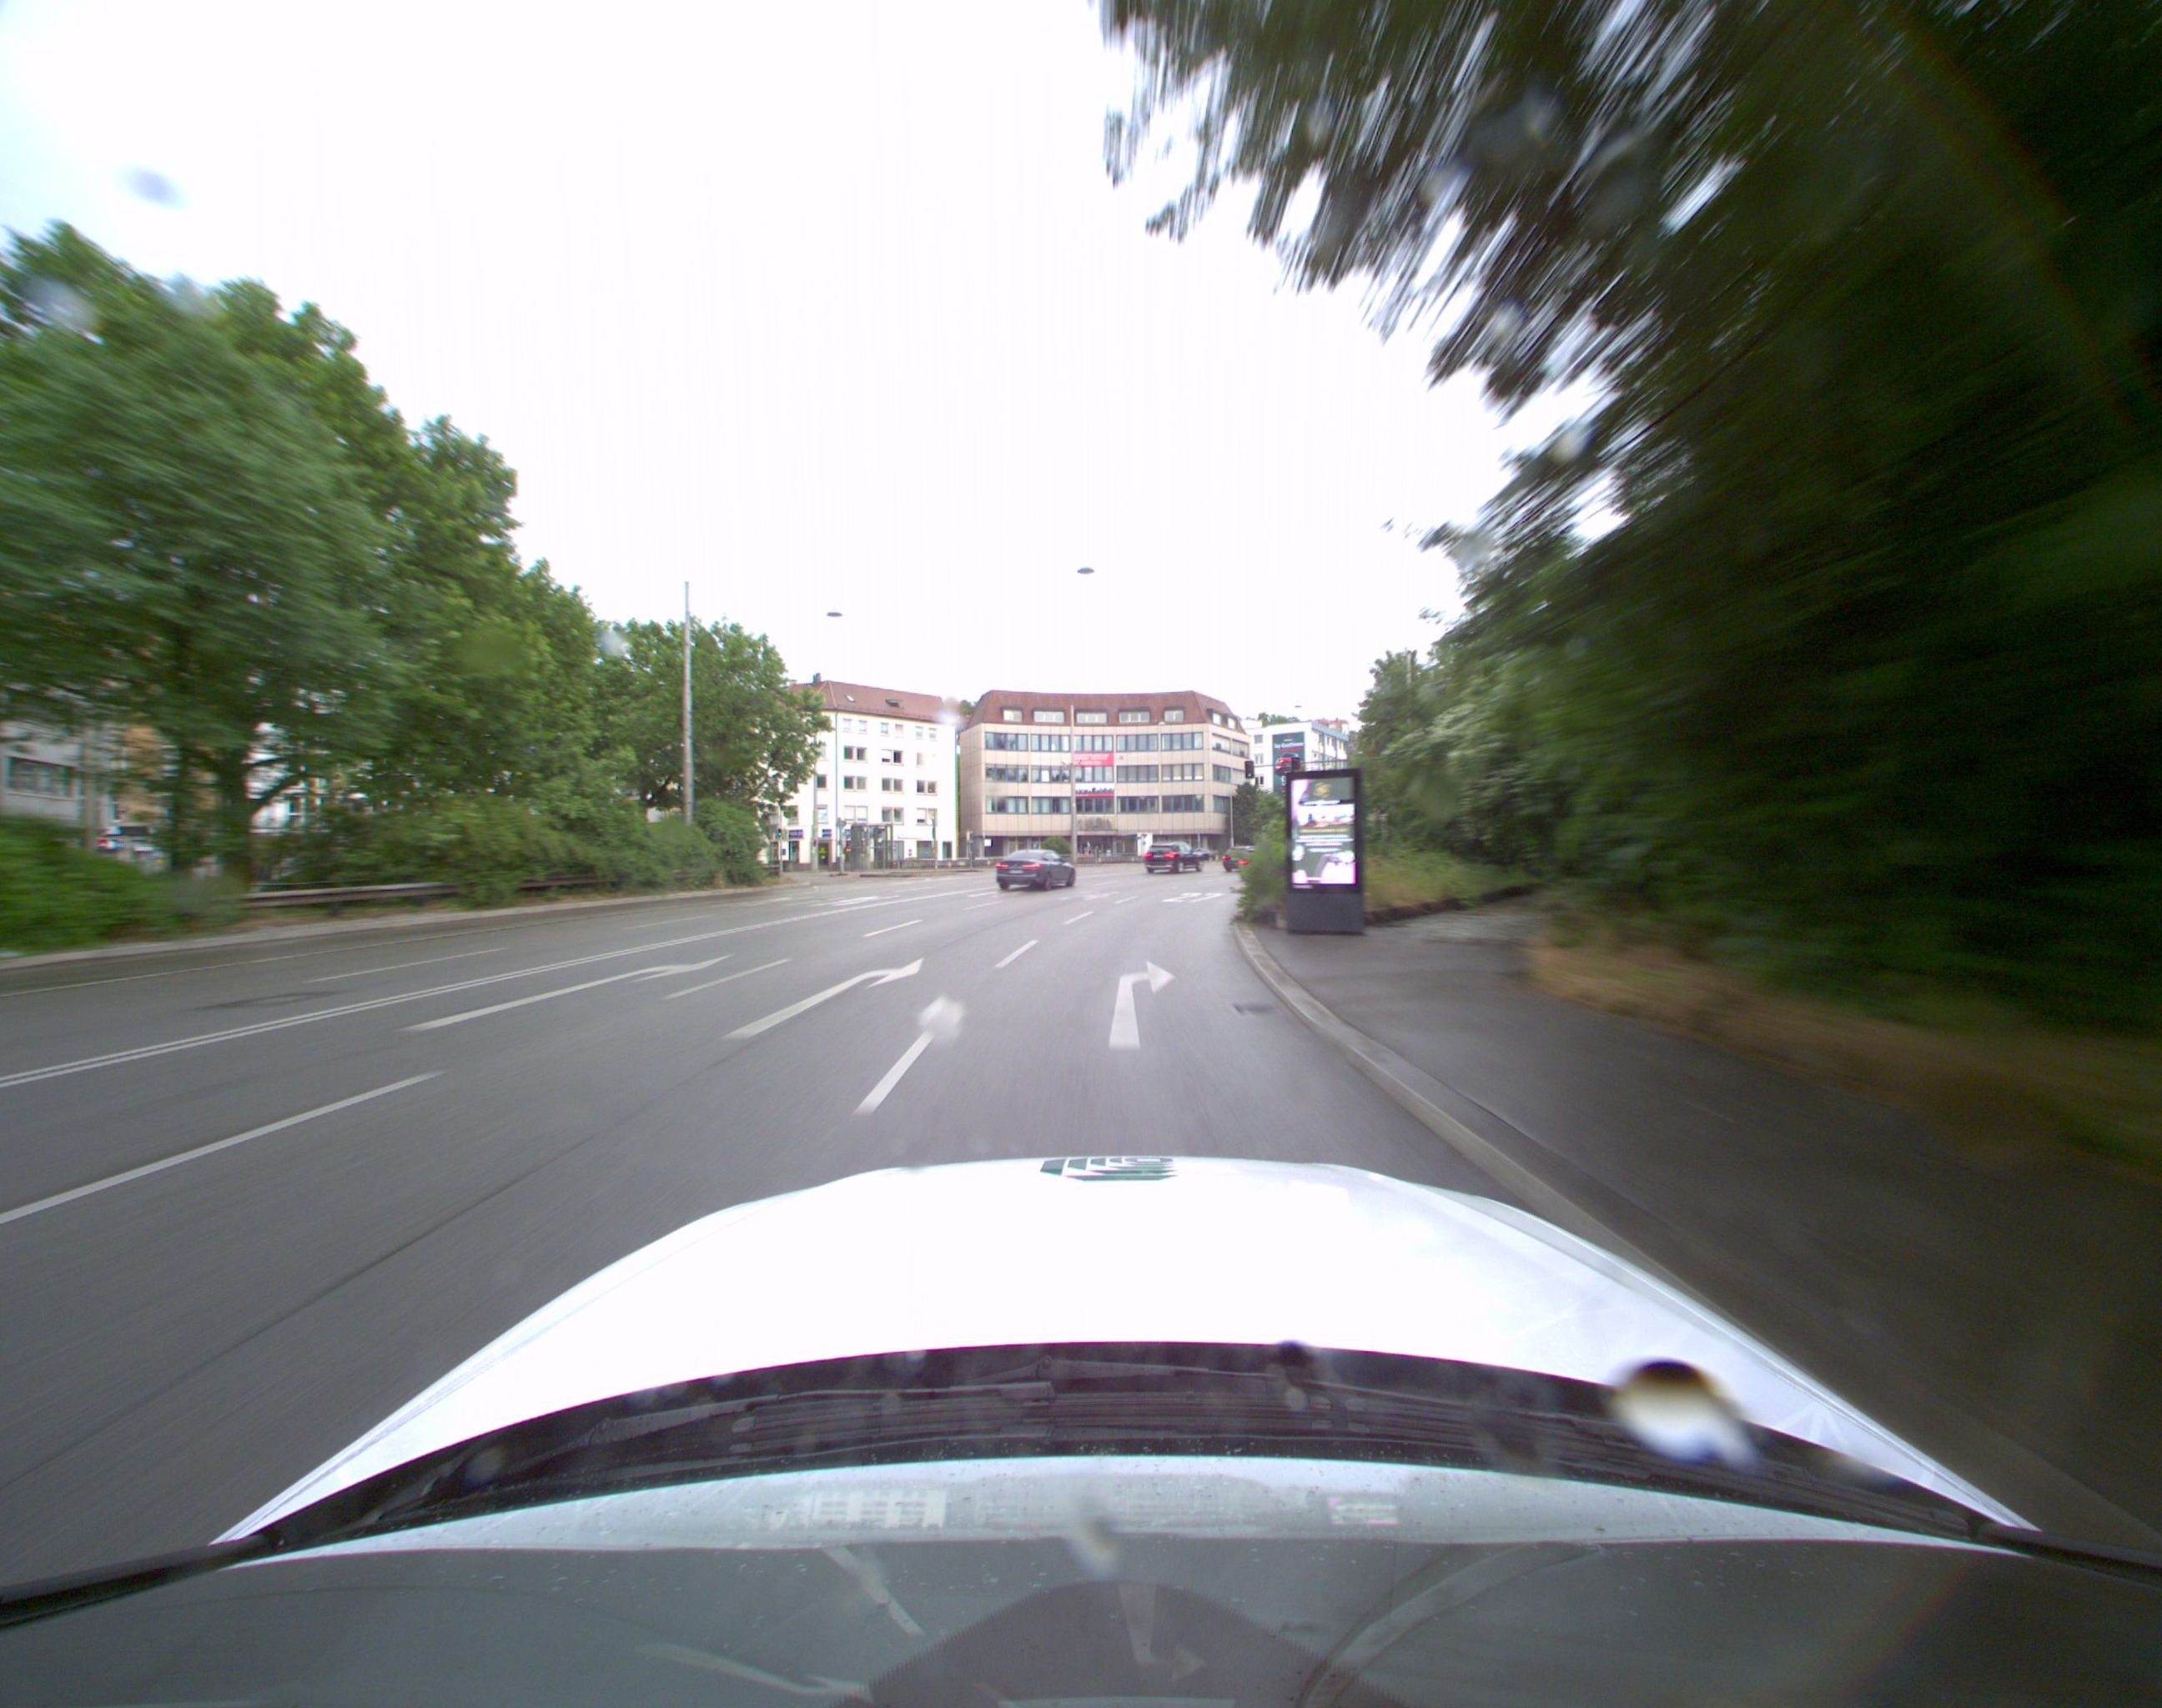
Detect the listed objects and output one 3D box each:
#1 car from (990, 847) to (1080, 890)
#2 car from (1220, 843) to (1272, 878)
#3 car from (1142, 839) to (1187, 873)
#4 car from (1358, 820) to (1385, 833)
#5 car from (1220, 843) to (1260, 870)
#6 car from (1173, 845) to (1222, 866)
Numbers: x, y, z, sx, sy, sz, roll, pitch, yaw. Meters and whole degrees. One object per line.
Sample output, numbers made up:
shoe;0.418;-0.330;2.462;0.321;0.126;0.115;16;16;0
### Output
car;-1.579;0.500;29.844;1.776;1.426;4.405;-2;-1;18
car;7.565;0.287;37.030;1.944;1.426;4.142;-2;-1;16
car;4.520;0.116;43.663;1.887;1.693;4.014;-2;-1;12
car;53.212;-5.037;149.180;4.374;2.006;2.012;-2;-1;30
car;8.989;0.125;45.729;1.778;1.426;4.633;-1;0;16
car;11.262;0.128;78.666;4.453;1.843;1.981;-1;-1;-30
